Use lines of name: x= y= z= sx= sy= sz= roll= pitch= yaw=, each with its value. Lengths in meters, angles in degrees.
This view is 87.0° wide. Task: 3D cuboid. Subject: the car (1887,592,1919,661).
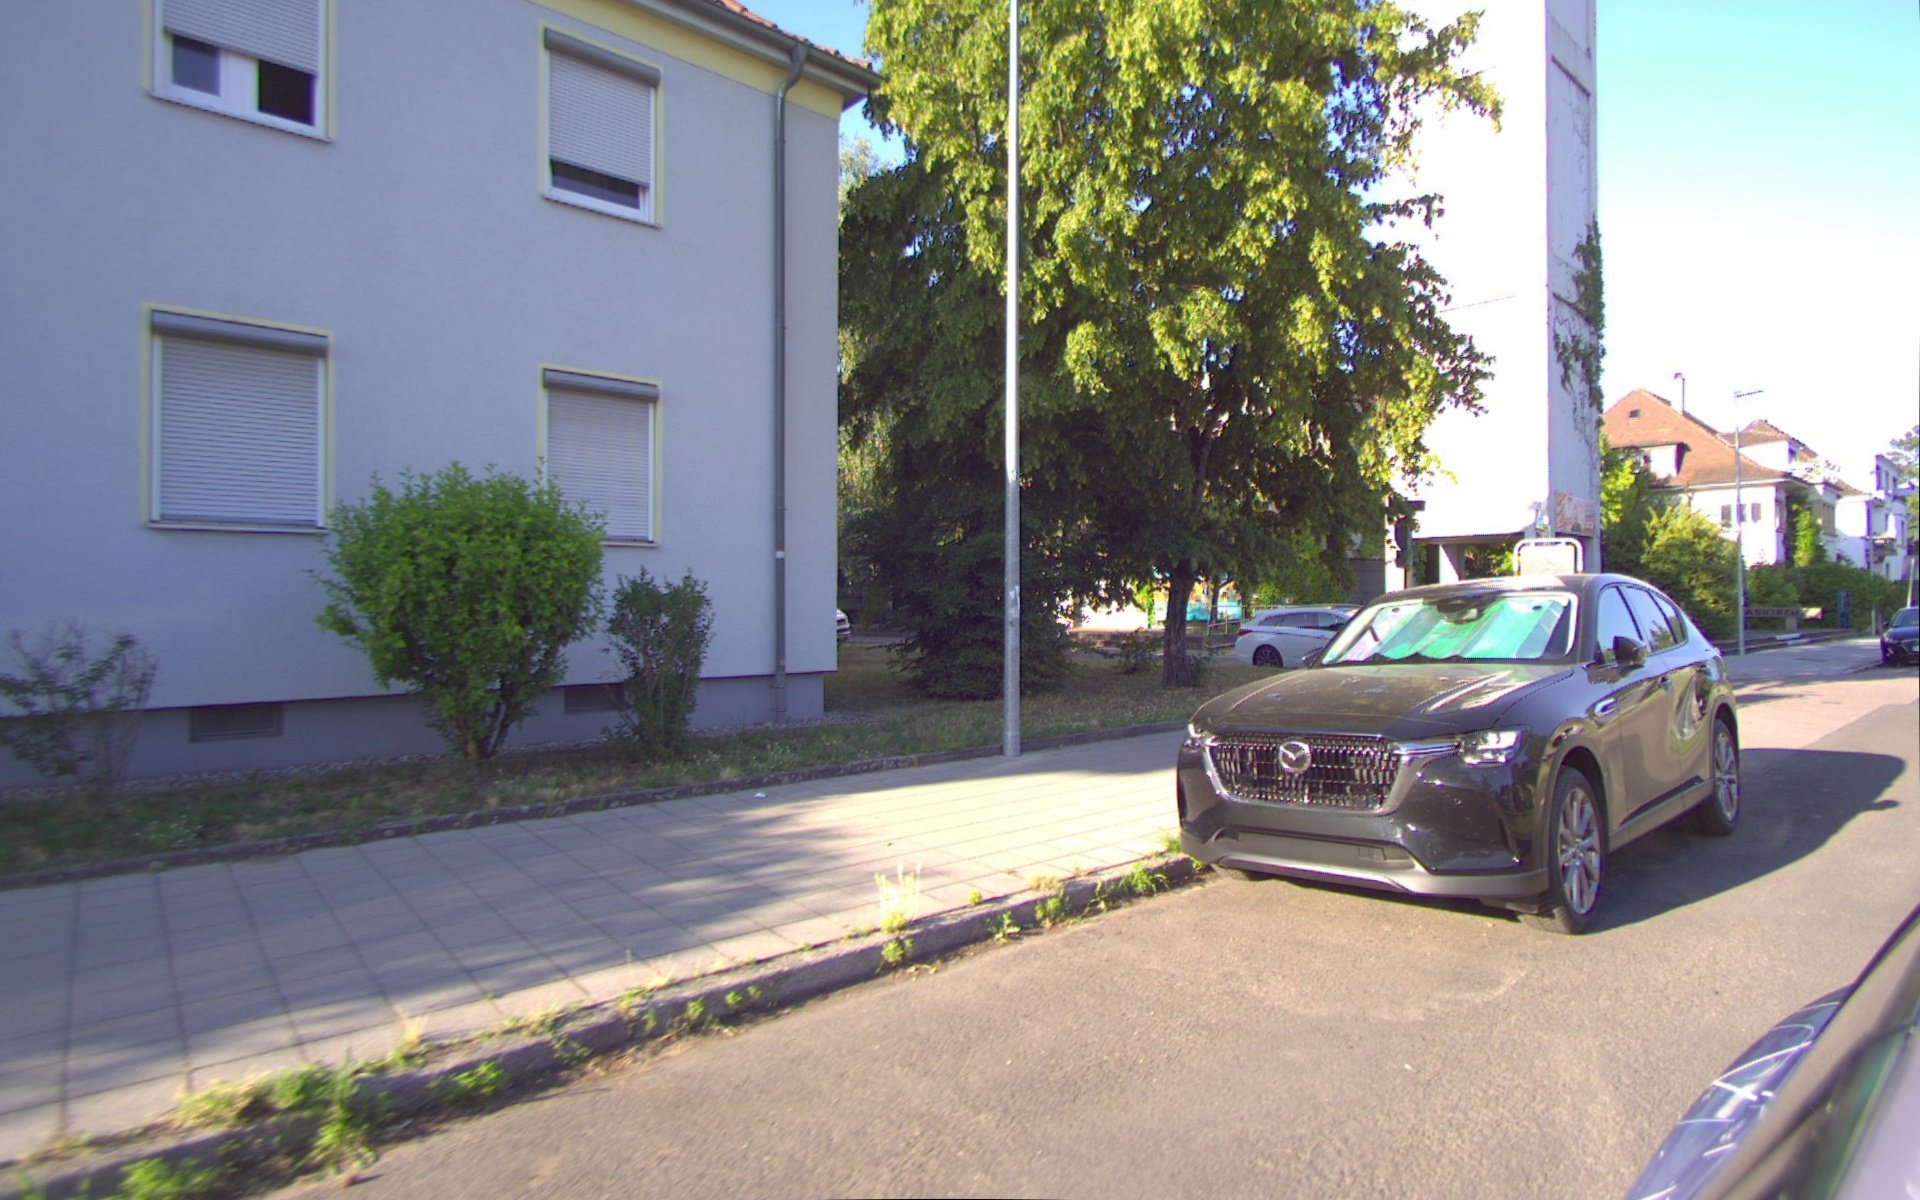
car: x=24.388 y=0.552 z=24.759 sx=4.540 sy=1.582 sz=1.824 roll=0 pitch=-6 yaw=-40

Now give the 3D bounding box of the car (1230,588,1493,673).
car: x=8.461 y=0.598 z=21.724 sx=1.969 sy=1.504 sz=4.854 roll=-5 pitch=2 yaw=-41

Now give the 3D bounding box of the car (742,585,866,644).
car: x=-6.043 y=0.501 z=38.738 sx=2.139 sy=1.996 sz=5.005 roll=-4 pitch=3 yaw=-44

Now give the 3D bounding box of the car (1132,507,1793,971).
car: x=3.368 y=0.513 z=6.179 sx=4.945 sy=1.754 sz=1.835 roll=-1 pitch=-2 yaw=-42

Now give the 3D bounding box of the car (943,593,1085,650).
car: x=1.517 y=0.602 z=29.753 sx=1.964 sy=1.529 sz=4.125 roll=0 pitch=0 yaw=-38
